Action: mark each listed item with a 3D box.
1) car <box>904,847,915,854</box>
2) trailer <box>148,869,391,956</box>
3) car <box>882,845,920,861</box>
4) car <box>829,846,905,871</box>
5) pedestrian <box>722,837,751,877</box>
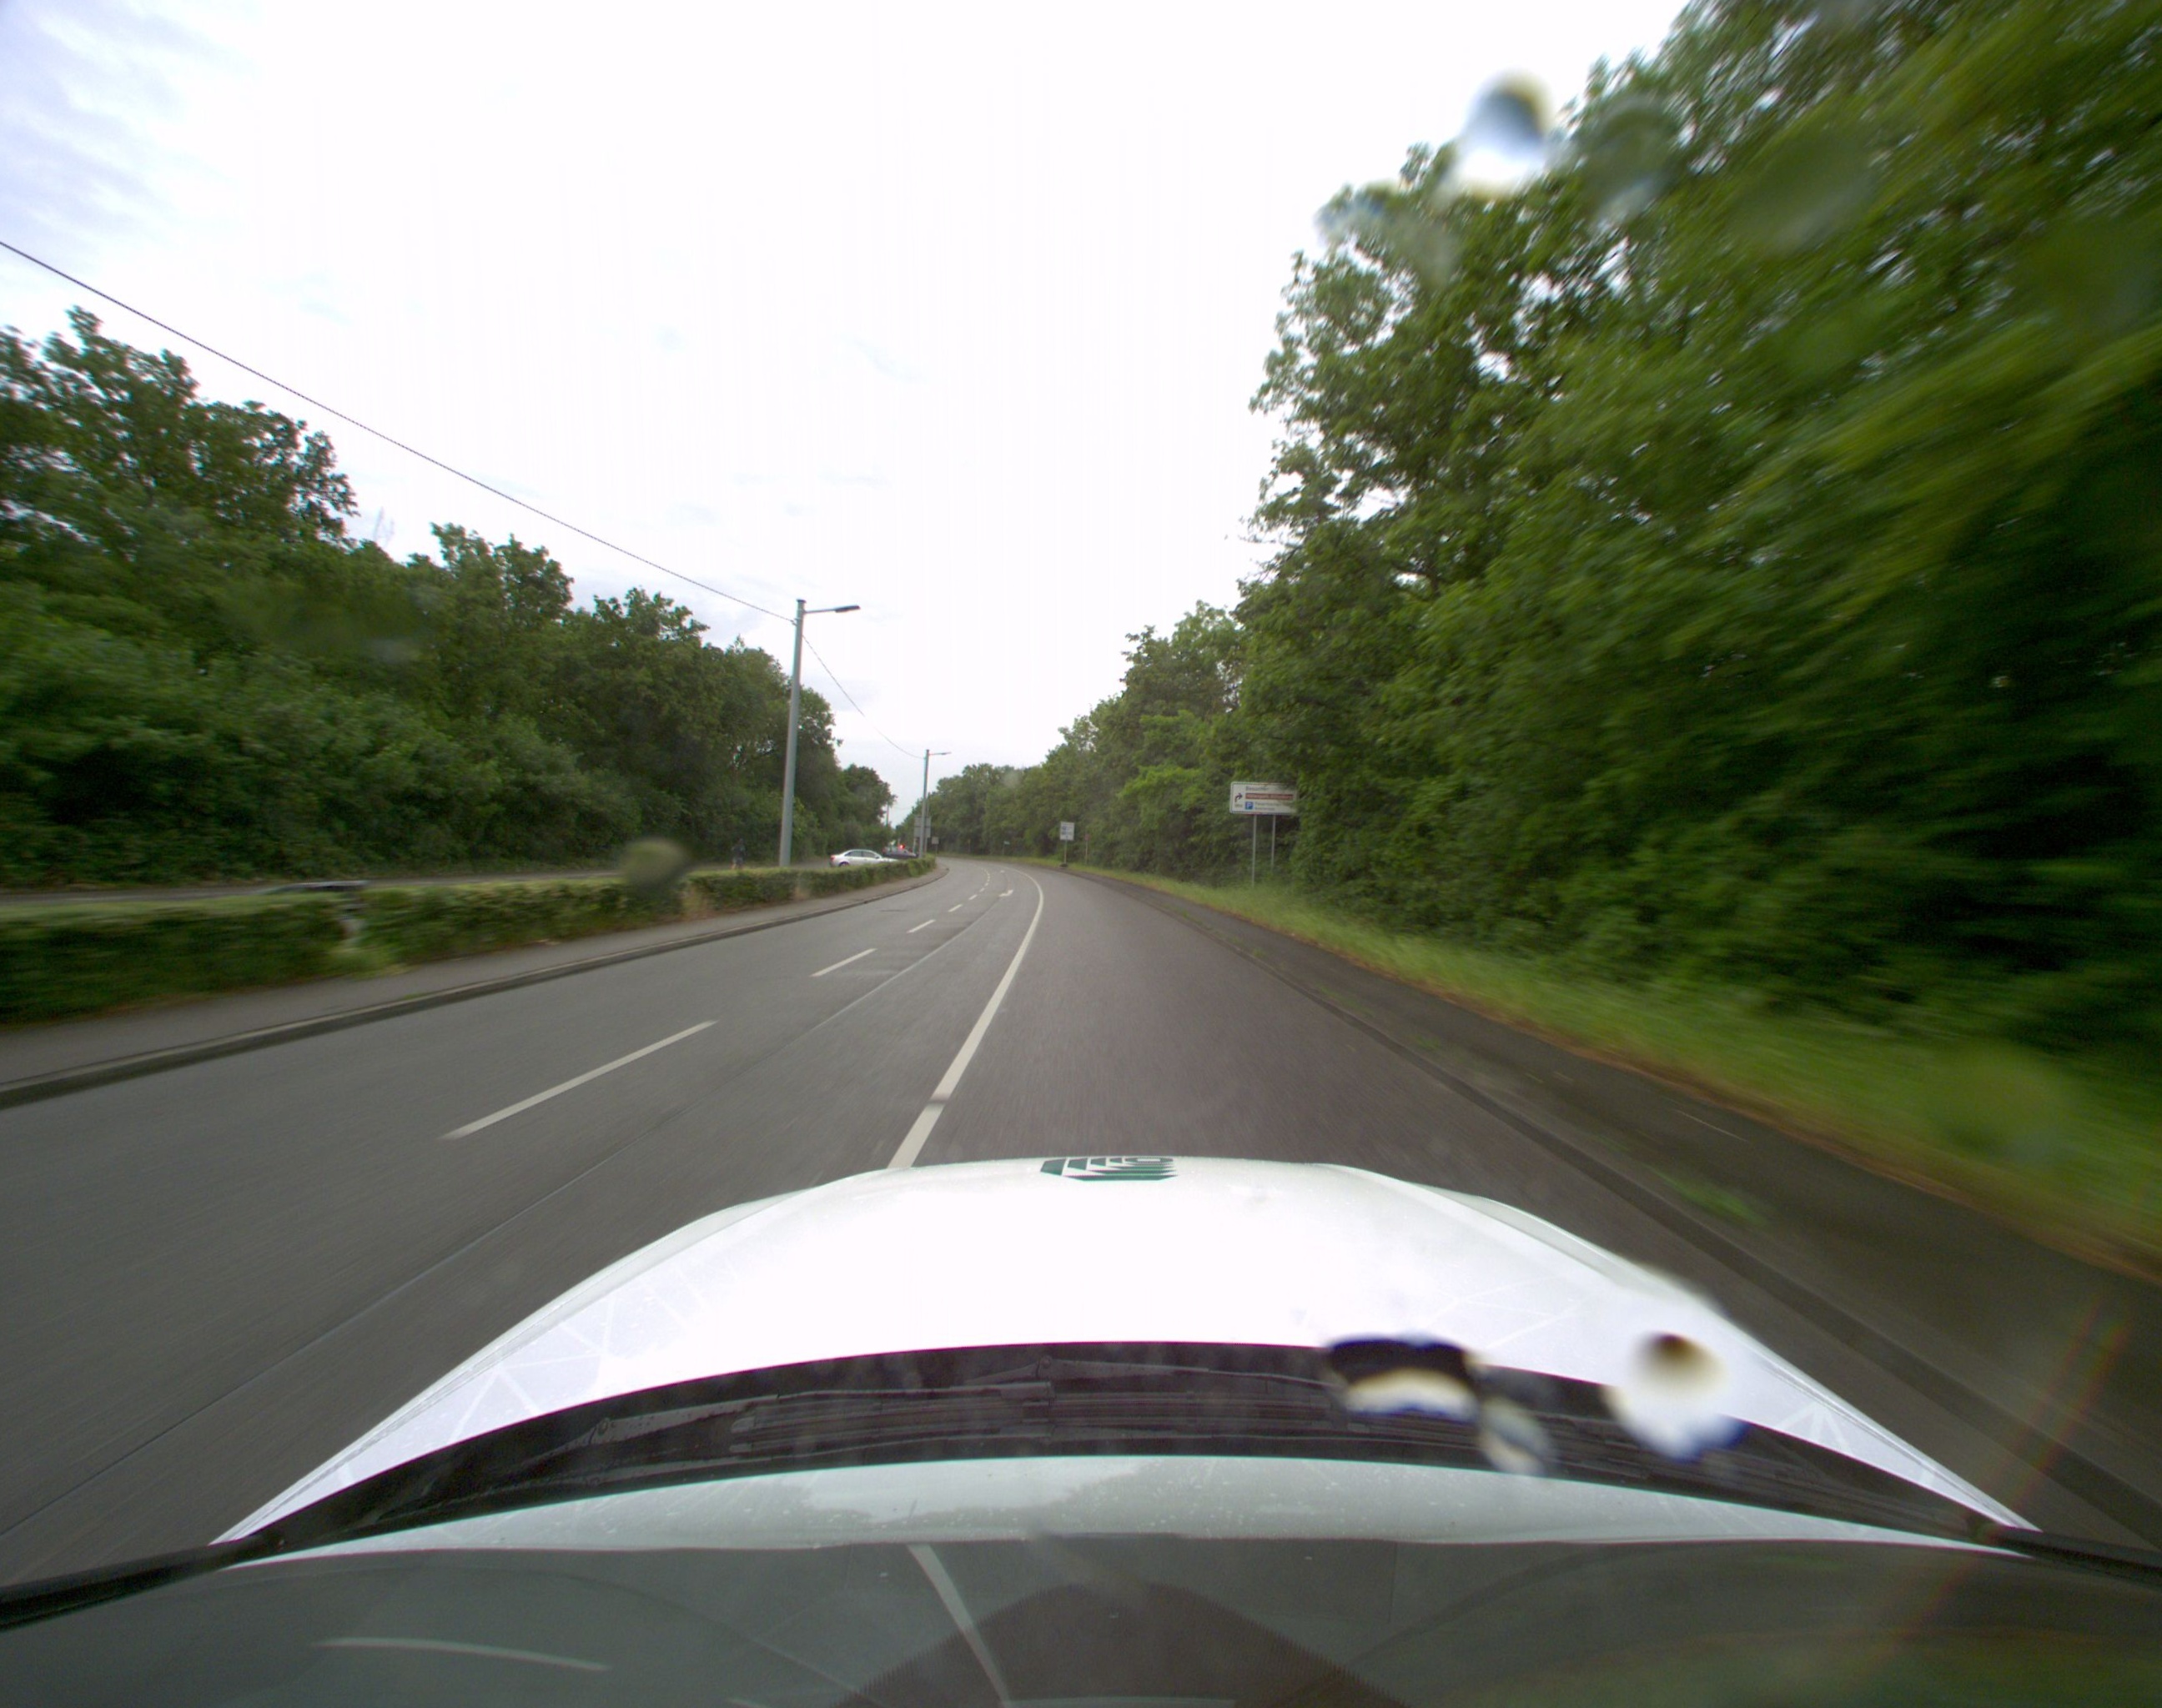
[{"bbox_3d":[-38.062,-0.776,180.677,1.940,1.498,4.292,1,0,-18],"label":"car"},{"bbox_3d":[-10.579,0.733,10.723,1.797,1.034,1.332,1,0,-4],"label":"trailer"},{"bbox_3d":[-21.578,-0.112,97.666,4.290,1.708,1.994,1,0,-10],"label":"car"},{"bbox_3d":[-13.657,0.287,52.140,4.579,1.506,1.992,1,0,-13],"label":"car"},{"bbox_3d":[-15.856,0.144,37.490,0.815,1.797,1.135,1,0,-2],"label":"pedestrian"}]
